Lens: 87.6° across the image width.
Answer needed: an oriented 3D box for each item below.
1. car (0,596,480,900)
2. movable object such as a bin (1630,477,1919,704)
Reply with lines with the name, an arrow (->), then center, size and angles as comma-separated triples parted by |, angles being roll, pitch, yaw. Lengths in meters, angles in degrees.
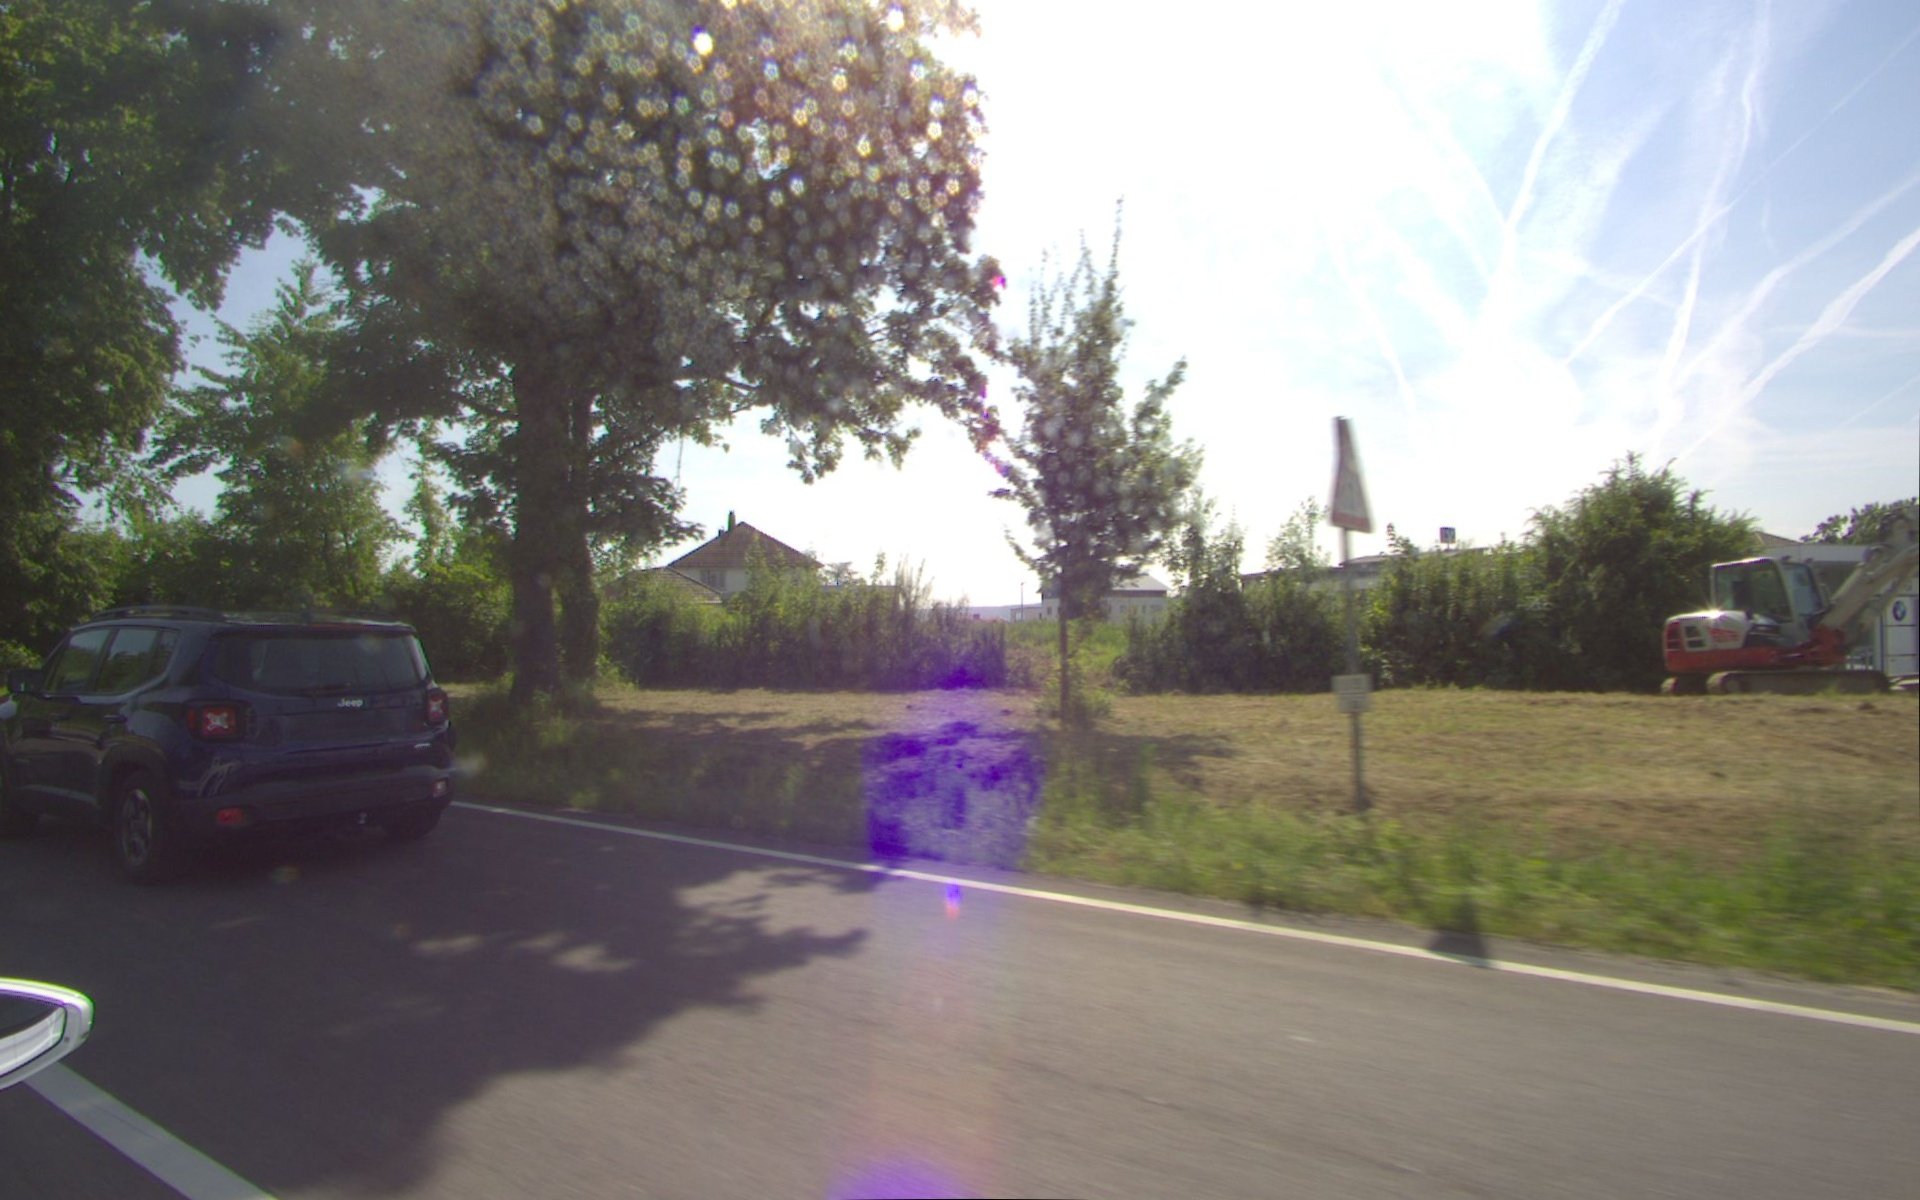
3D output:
car -> -5.518, 0.860, 7.318 | 3.943, 1.676, 1.767 | -1, 0, 32
movable object such as a bin -> 14.767, -0.148, 15.683 | 2.852, 3.250, 6.688 | -1, 0, -20
